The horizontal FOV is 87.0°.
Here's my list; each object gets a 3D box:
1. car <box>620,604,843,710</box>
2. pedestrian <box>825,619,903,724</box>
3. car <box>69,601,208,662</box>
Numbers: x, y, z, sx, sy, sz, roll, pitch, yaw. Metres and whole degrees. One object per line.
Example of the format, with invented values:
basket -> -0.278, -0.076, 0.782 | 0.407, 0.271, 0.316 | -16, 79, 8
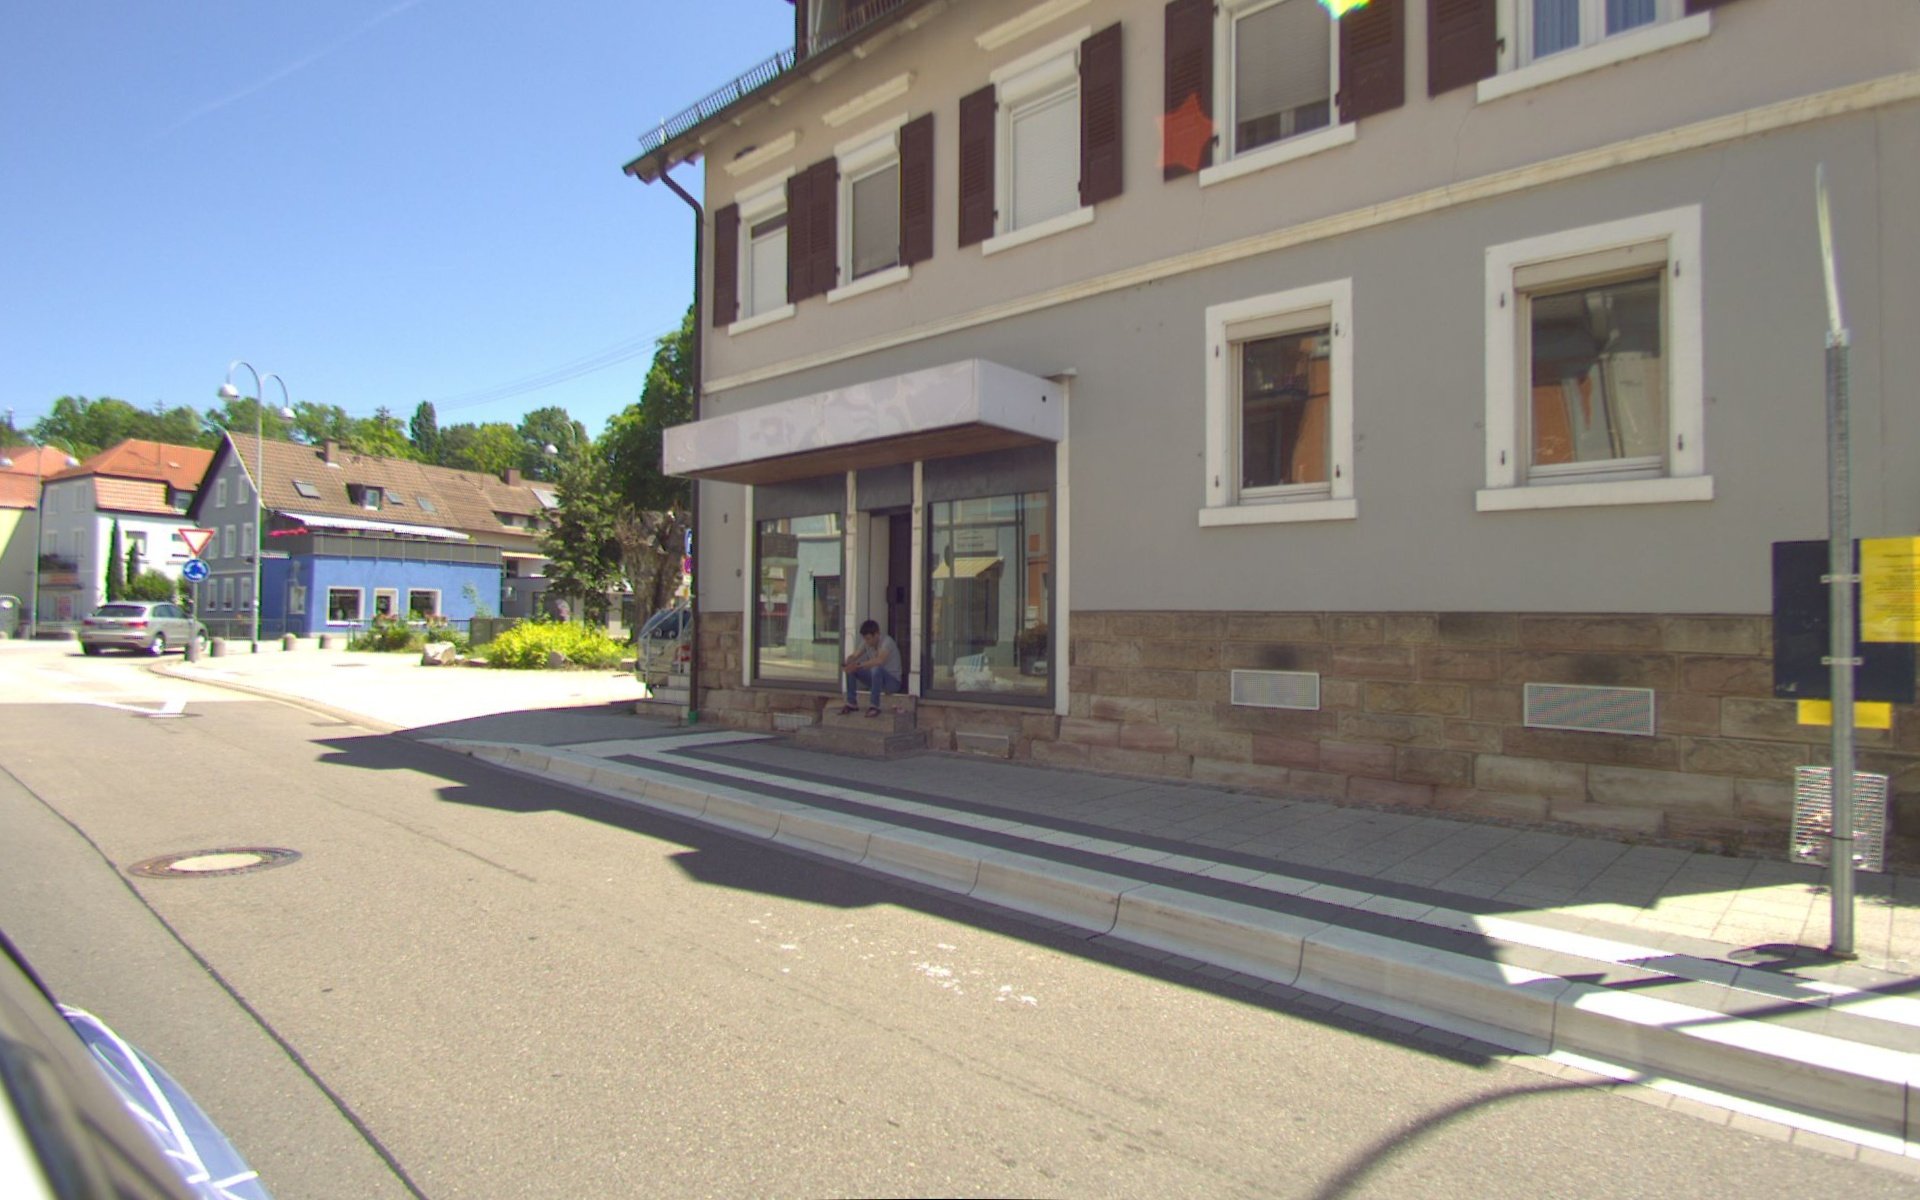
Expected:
car -> -3.936, 0.937, 17.928 | 1.601, 1.674, 3.675 | -1, -1, 38
pedestrian -> -1.012, 0.731, 10.694 | 0.567, 1.067, 0.590 | -1, -2, 40
car -> -24.271, 0.919, 30.096 | 1.786, 1.620, 3.929 | 4, -2, -17
